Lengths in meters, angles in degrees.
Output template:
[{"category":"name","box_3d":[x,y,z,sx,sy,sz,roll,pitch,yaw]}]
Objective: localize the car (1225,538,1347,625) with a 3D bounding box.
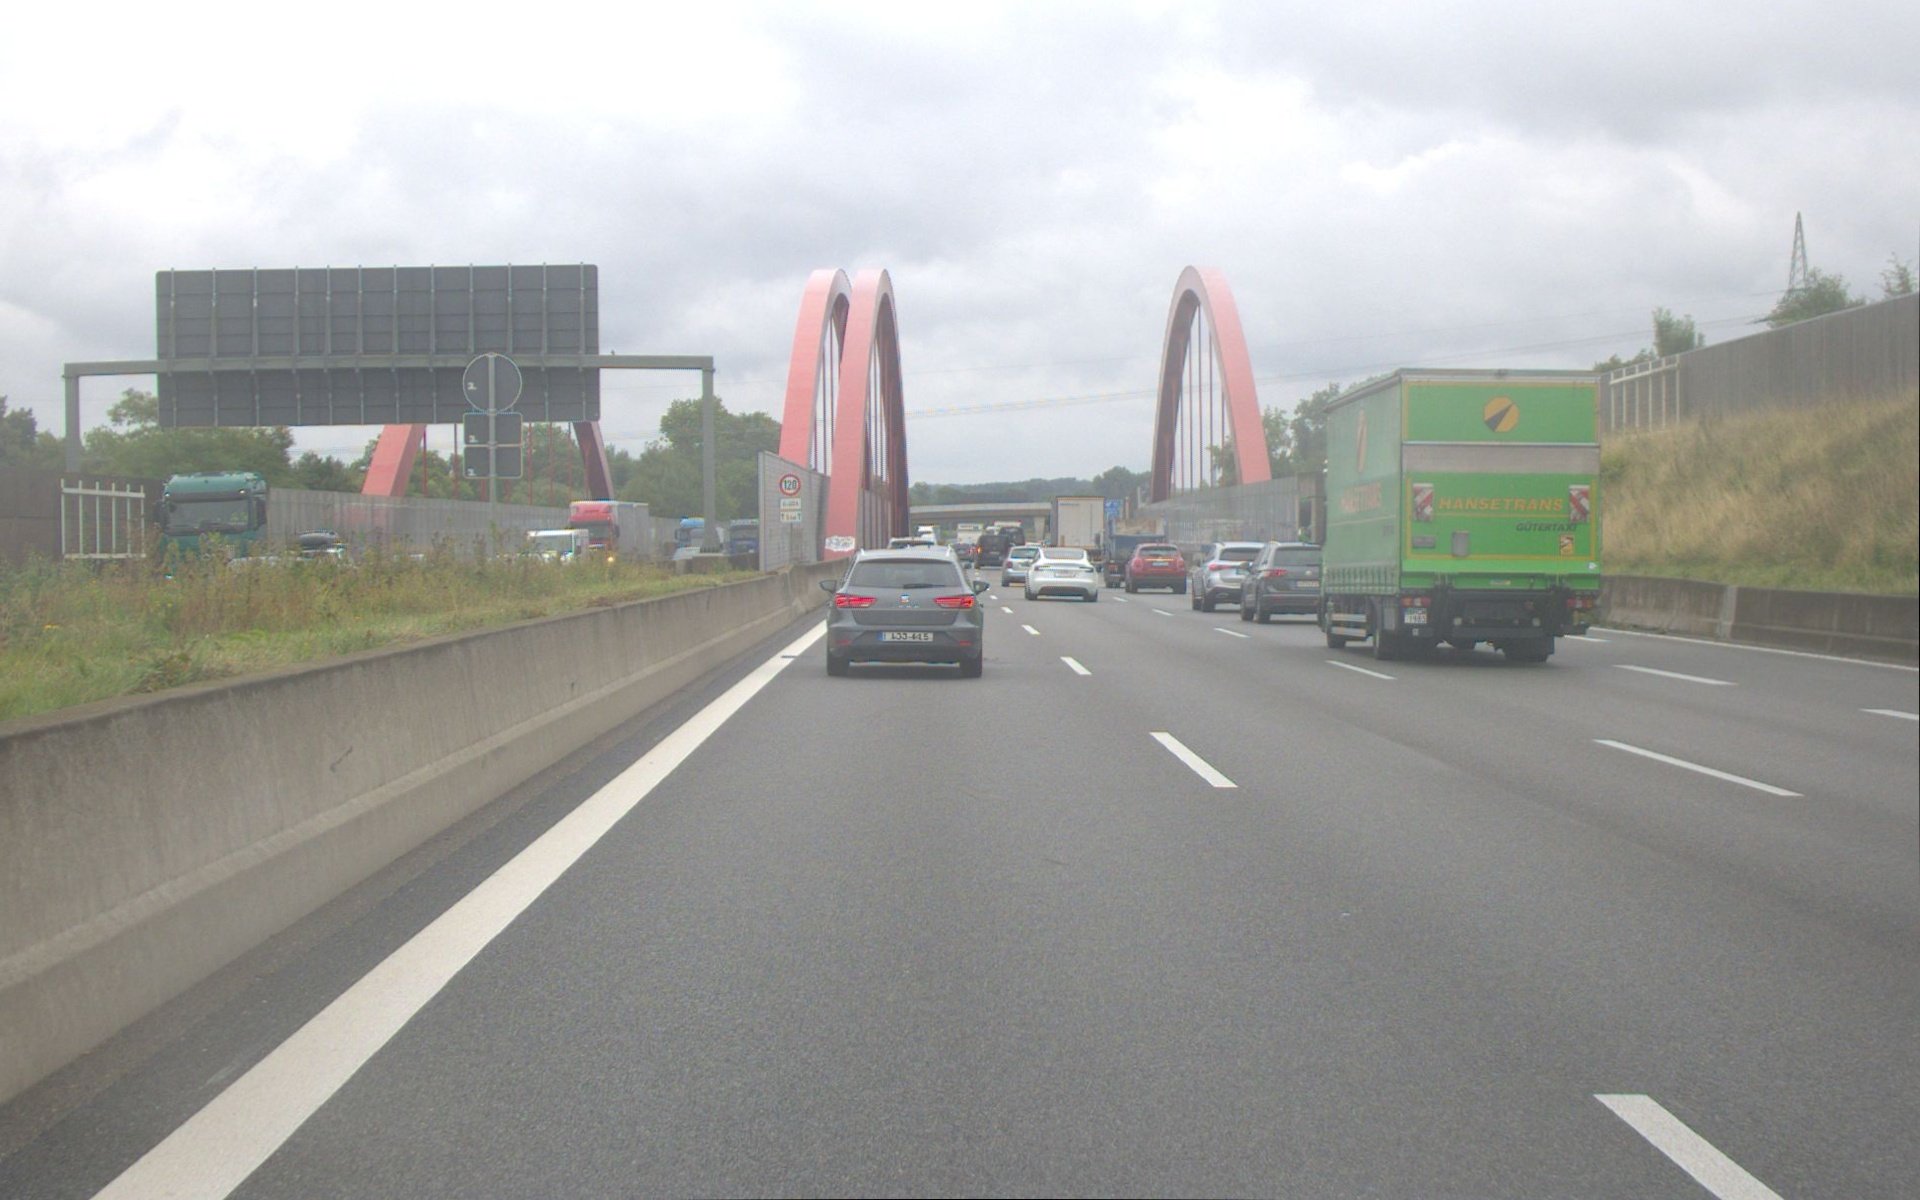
[{"category":"car","box_3d":[6.509,-0.394,69.000,1.911,1.664,4.104,1,1,-2]}]

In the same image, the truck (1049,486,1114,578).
[{"category":"truck","box_3d":[6.437,-3.589,183.131,3.044,4.718,7.680,1,1,0]}]

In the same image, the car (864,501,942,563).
[{"category":"car","box_3d":[-1.507,-1.802,90.616,1.993,1.579,4.000,-1,1,-1]}]

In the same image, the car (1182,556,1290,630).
[{"category":"car","box_3d":[6.427,-0.198,80.659,1.993,1.613,5.328,1,1,-1]}]

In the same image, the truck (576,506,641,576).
[{"category":"truck","box_3d":[-19.179,-3.239,188.022,2.984,3.740,5.917,1,1,-1]}]

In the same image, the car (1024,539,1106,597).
[{"category":"car","box_3d":[2.786,-0.874,92.054,1.993,1.481,4.000,1,1,-1]}]

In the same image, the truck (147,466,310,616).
[{"category":"truck","box_3d":[-19.631,-1.594,92.721,2.862,3.825,7.523,1,1,-1]}]

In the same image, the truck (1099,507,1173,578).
[{"category":"truck","box_3d":[6.360,-2.090,124.995,2.361,2.498,6.144,1,1,0]}]

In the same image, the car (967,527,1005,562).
[{"category":"car","box_3d":[1.376,-2.962,183.956,1.993,1.809,4.000,1,1,0]}]

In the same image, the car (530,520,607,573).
[{"category":"car","box_3d":[-15.216,-2.095,133.987,2.214,2.007,7.059,1,1,0]}]

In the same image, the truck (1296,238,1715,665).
[{"category":"truck","box_3d":[7.356,-1.942,48.520,3.997,5.248,11.220,1,1,0]}]

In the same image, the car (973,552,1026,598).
[{"category":"car","box_3d":[1.379,-0.901,121.616,1.702,1.538,3.839,0,1,-1]}]

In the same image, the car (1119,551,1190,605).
[{"category":"car","box_3d":[6.205,-0.719,110.219,1.957,1.641,4.000,1,1,-1]}]

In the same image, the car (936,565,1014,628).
[{"category":"car","box_3d":[0.335,-0.109,81.093,1.781,1.401,3.626,1,1,-1]}]

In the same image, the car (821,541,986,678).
[{"category":"car","box_3d":[-0.601,0.068,38.985,1.764,1.448,4.000,1,1,0]}]
